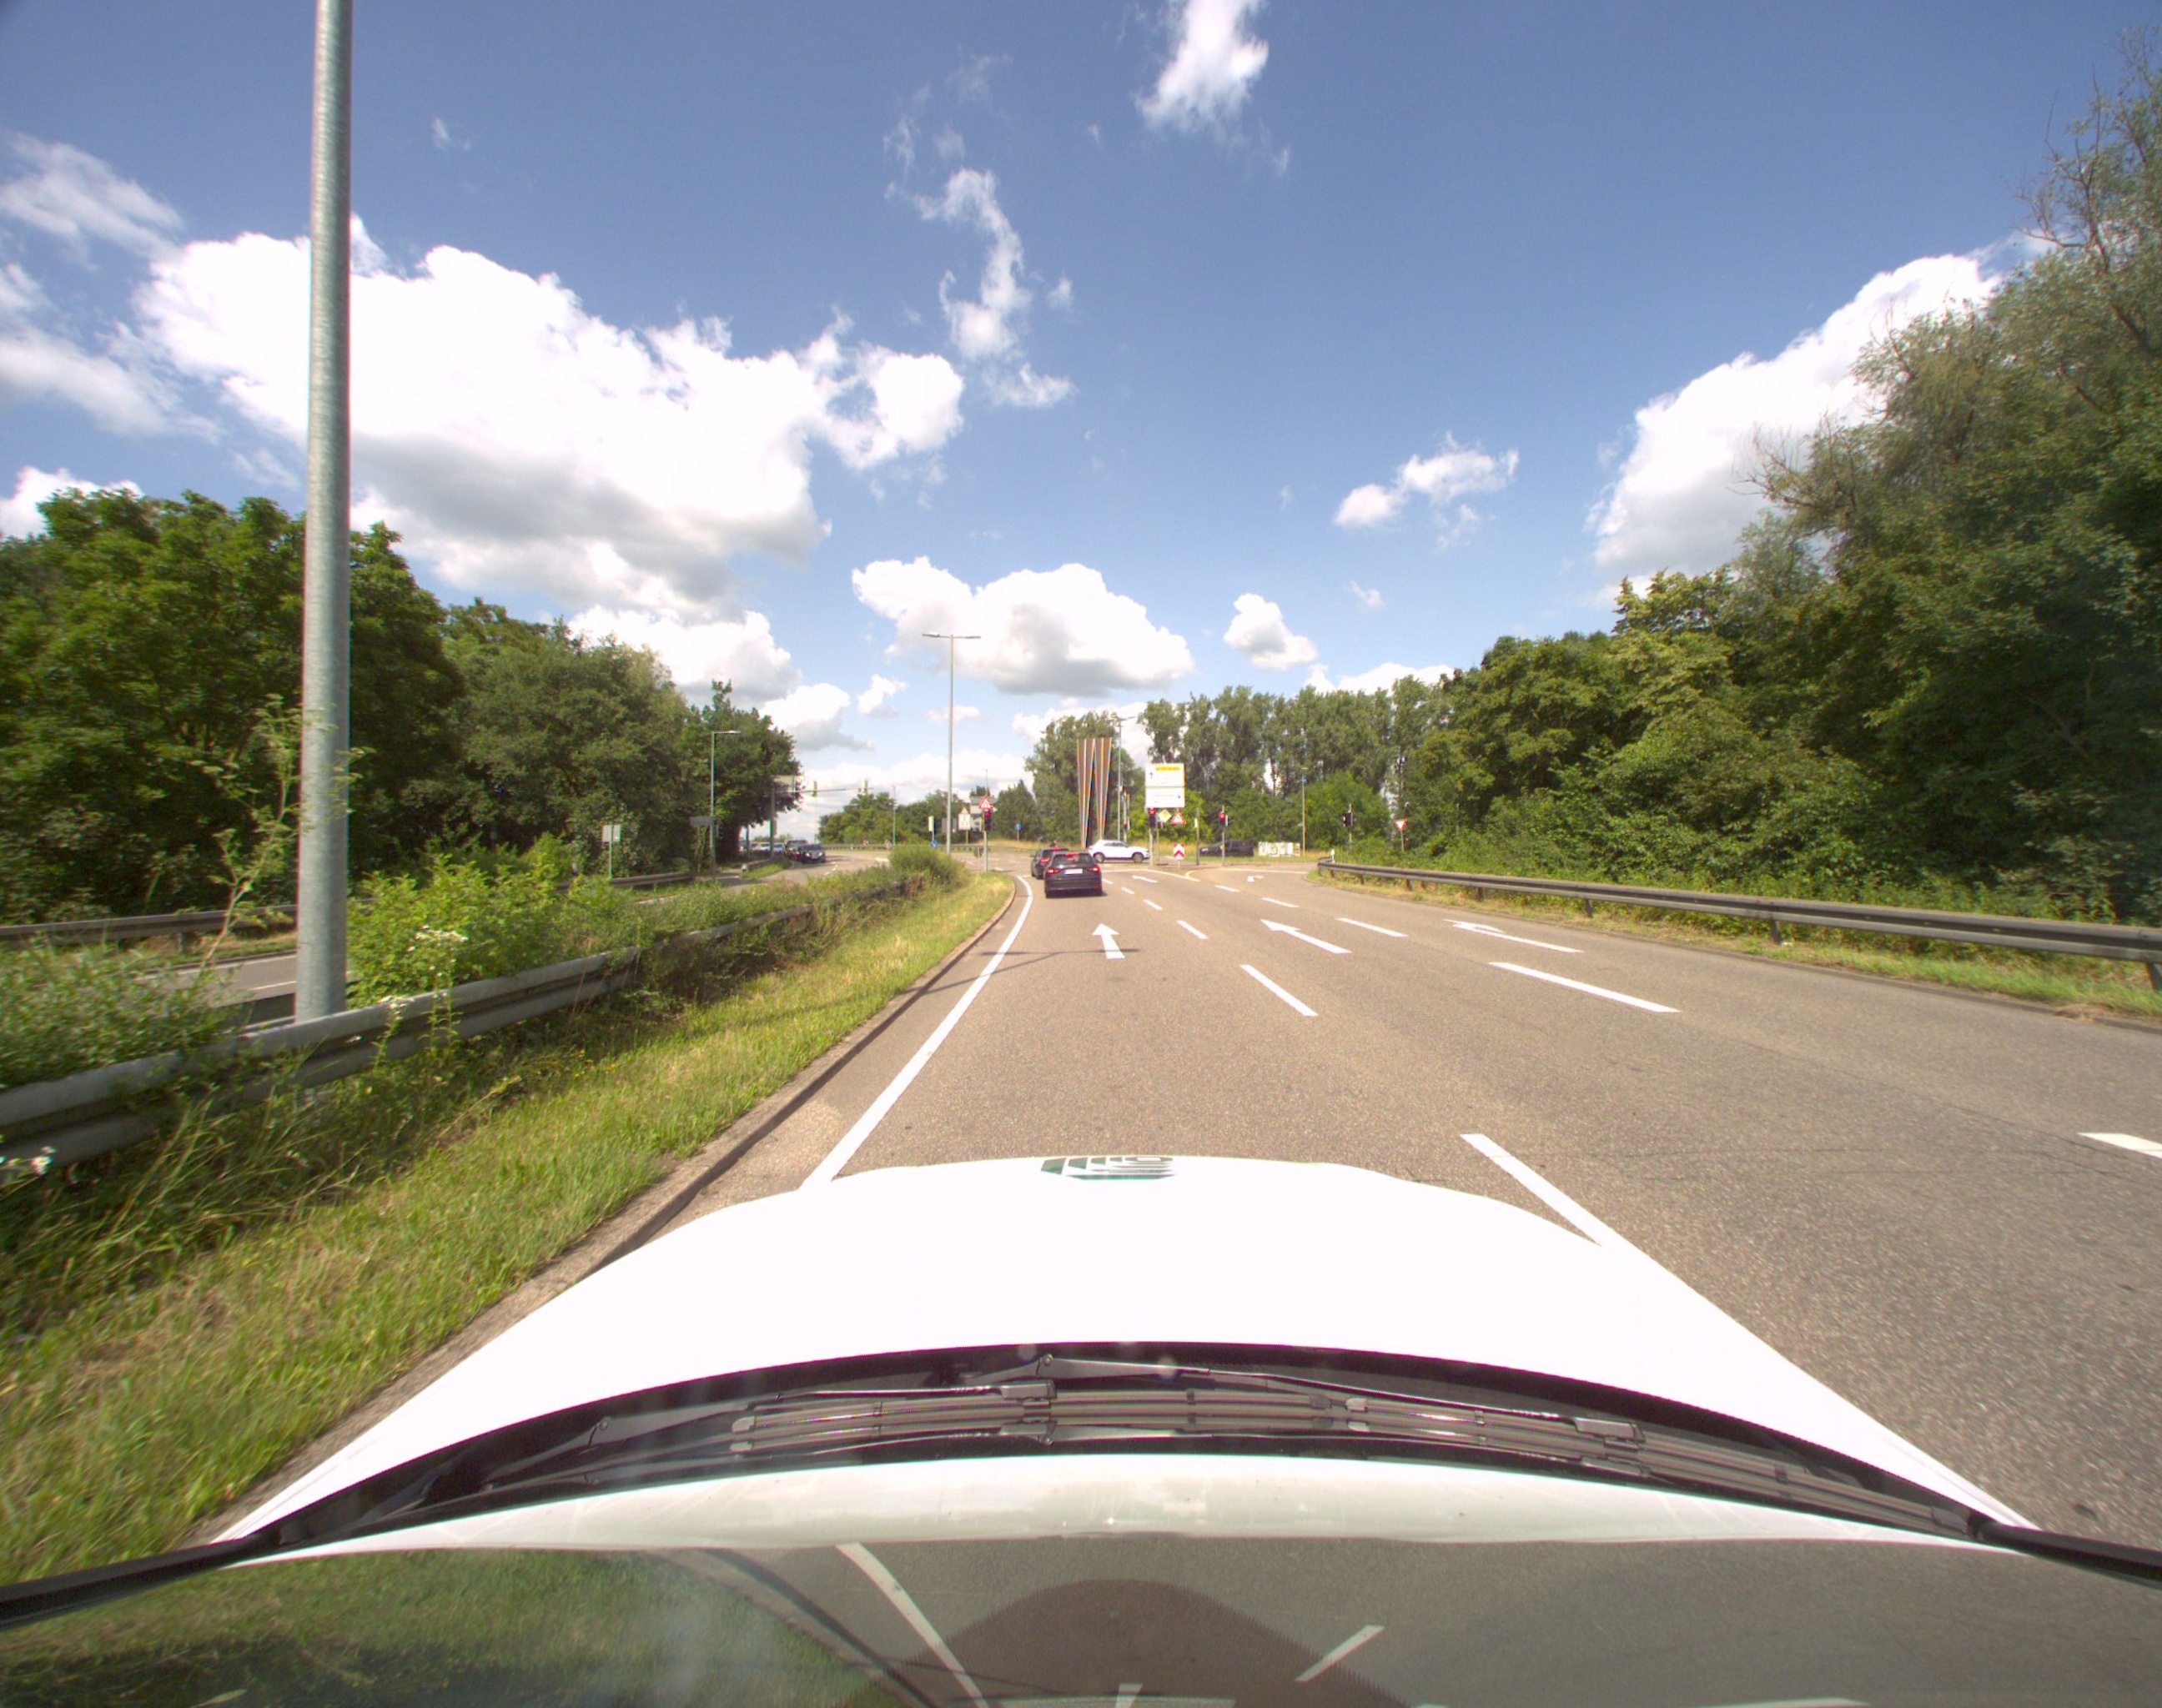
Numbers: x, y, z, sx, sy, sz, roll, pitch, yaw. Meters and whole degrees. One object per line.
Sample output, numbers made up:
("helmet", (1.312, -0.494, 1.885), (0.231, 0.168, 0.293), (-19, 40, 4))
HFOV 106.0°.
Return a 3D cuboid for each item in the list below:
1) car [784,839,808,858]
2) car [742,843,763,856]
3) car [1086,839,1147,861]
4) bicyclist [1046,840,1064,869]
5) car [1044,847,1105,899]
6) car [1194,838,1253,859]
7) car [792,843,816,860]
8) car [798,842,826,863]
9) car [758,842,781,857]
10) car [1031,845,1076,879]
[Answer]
("car", (-28.235, -0.528, 80.576), (1.852, 1.802, 4.292), (-1, 1, -24))
("car", (-42.788, -0.594, 105.945), (1.855, 1.705, 4.284), (-1, 1, -31))
("car", (2.436, -0.278, 54.780), (4.016, 1.476, 1.739), (0, 0, 3))
("bicyclist", (-1.419, 0.032, 44.103), (0.835, 1.560, 0.669), (-1, 0, -15))
("car", (-0.267, 0.550, 25.859), (1.722, 1.404, 3.997), (-3, 1, -2))
("car", (11.071, -0.416, 63.348), (4.260, 1.545, 1.734), (-1, 1, -4))
("car", (-25.397, -0.236, 74.519), (1.739, 1.476, 4.015), (-1, 1, -24))
("car", (-22.184, -0.127, 67.074), (1.847, 1.618, 3.968), (-1, 0, -24))
("car", (-36.021, -0.536, 94.154), (1.854, 1.705, 4.286), (-1, 1, -29))
("car", (-1.331, 0.344, 38.060), (1.725, 1.423, 3.835), (-3, 1, -7))
